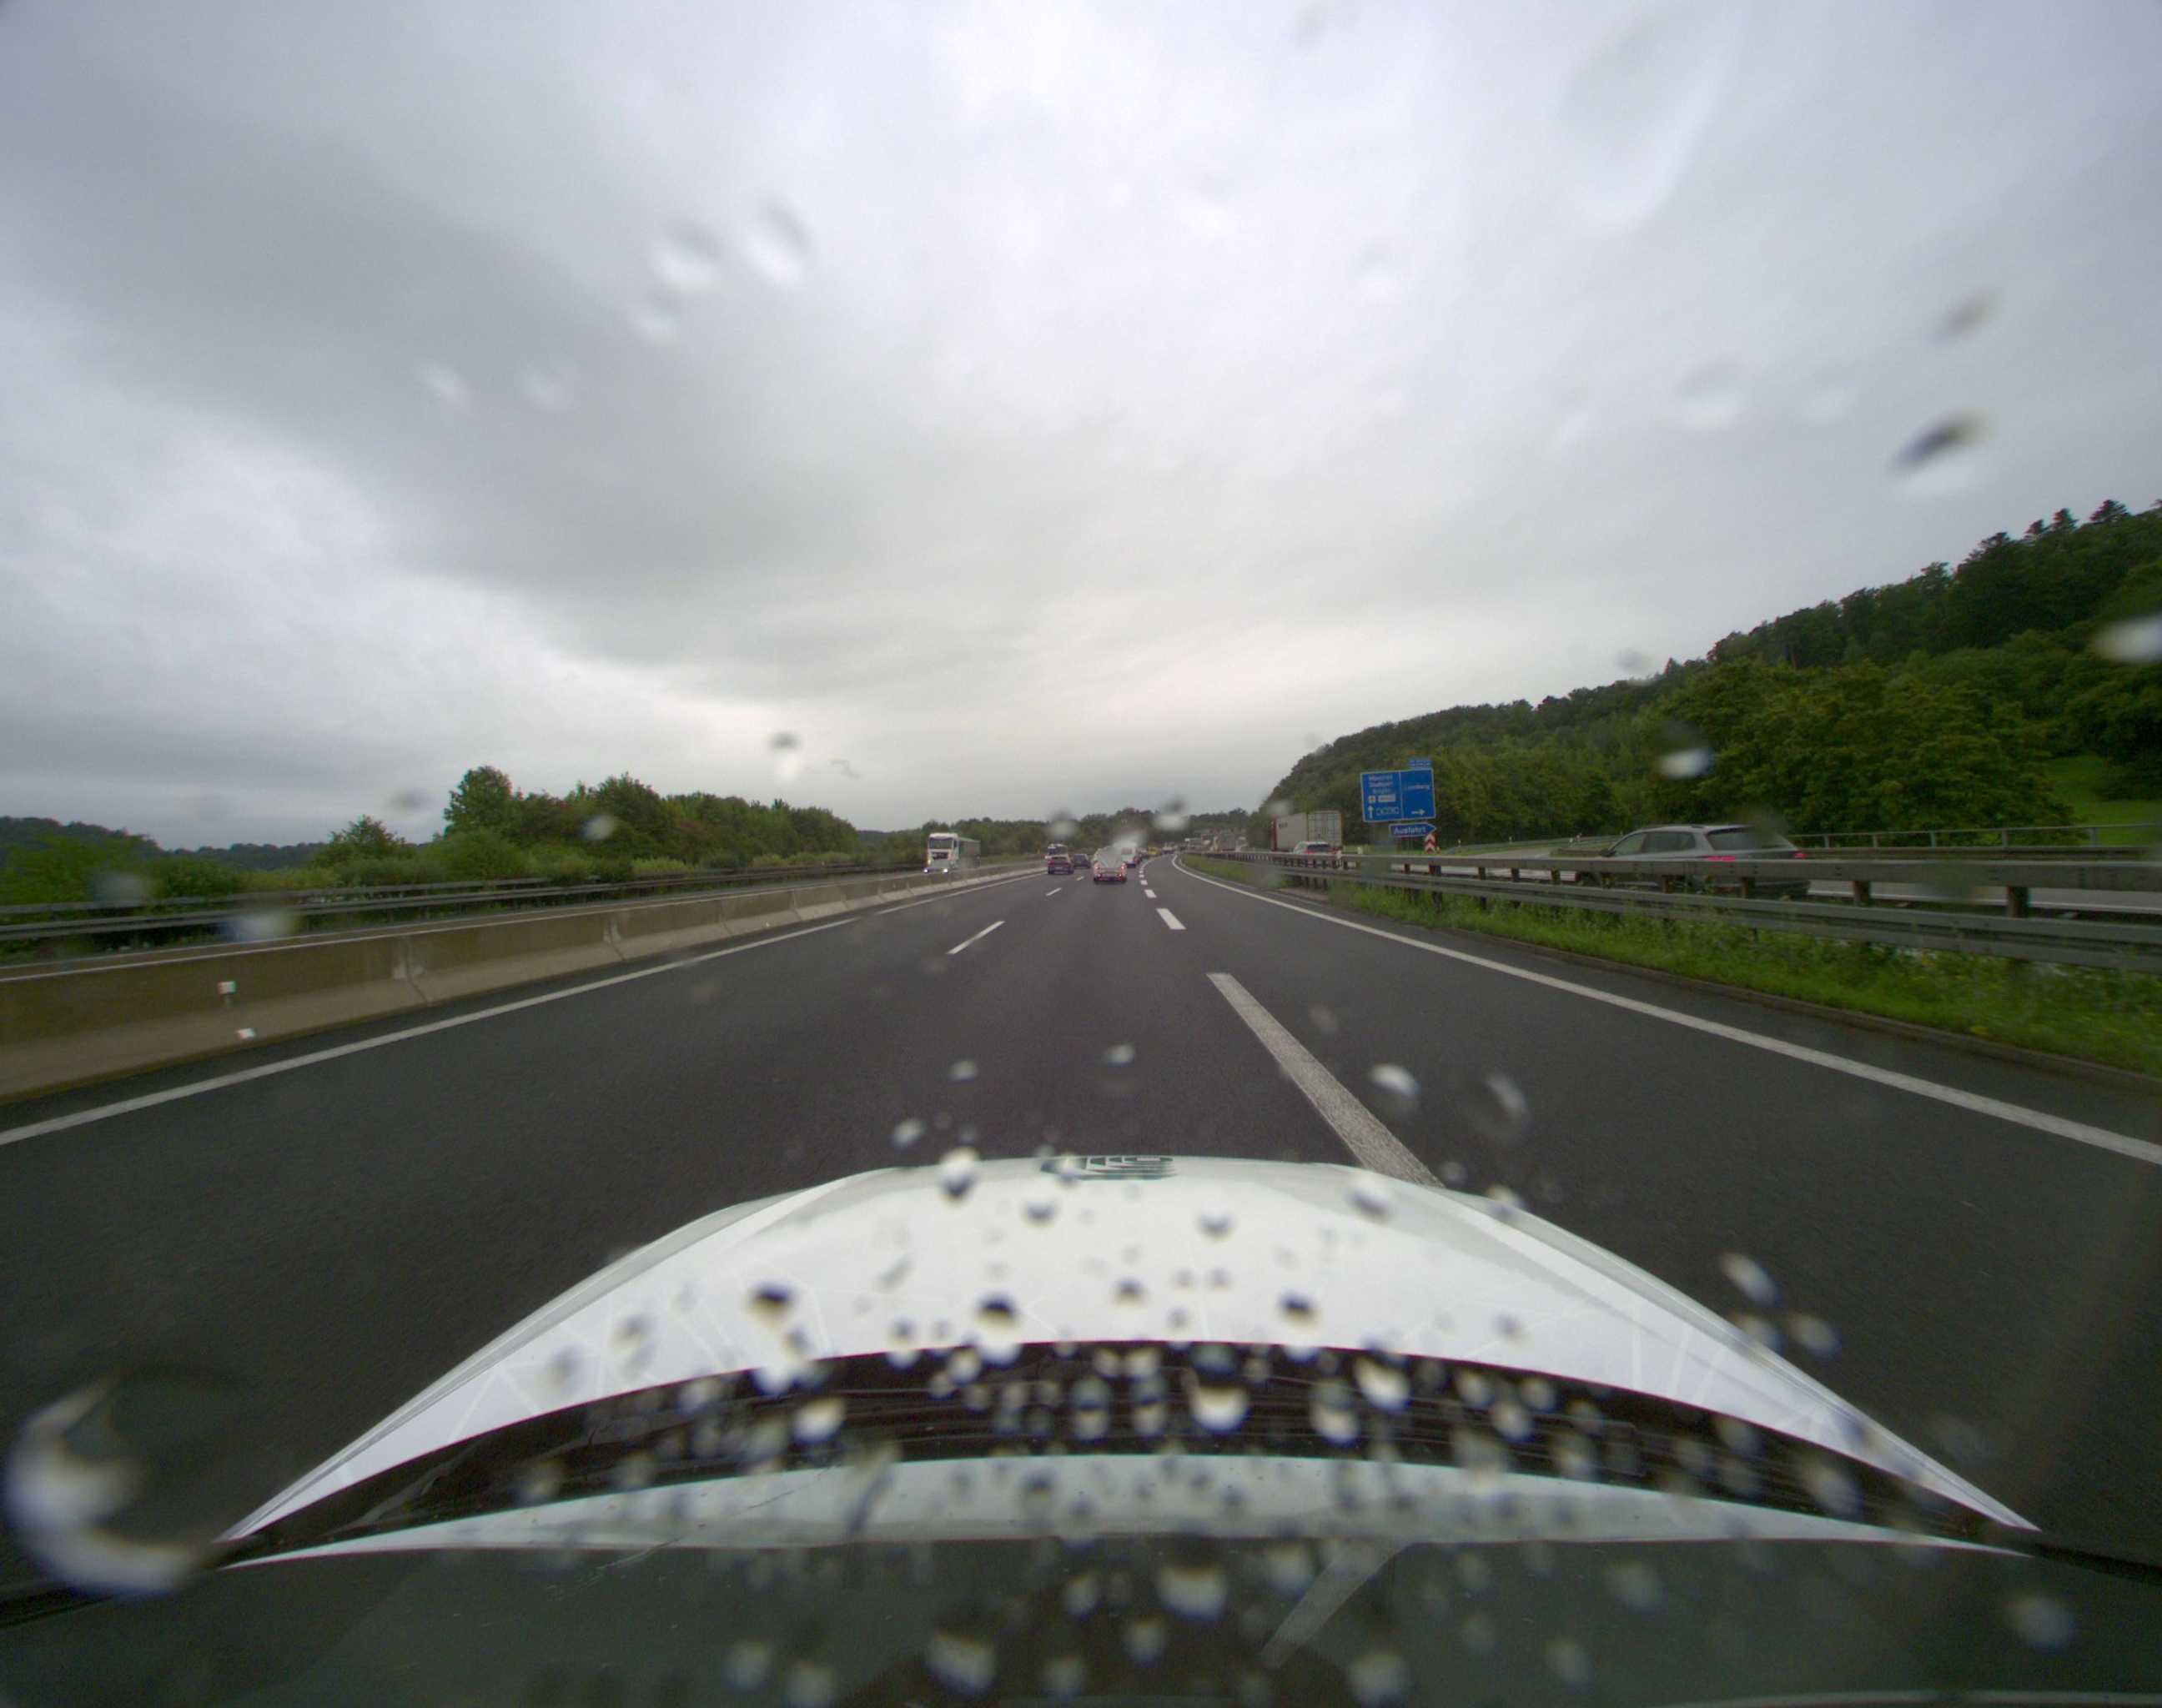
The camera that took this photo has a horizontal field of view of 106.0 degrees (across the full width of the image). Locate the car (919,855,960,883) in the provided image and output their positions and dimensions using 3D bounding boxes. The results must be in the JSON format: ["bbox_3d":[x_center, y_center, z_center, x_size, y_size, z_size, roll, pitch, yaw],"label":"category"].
[{"bbox_3d":[-10.115,1.035,58.670,1.887,1.876,4.545,-2,0,3],"label":"car"}]

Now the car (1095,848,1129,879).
[{"bbox_3d":[1.816,0.526,46.618,1.811,1.616,4.781,-2,0,3],"label":"car"}]

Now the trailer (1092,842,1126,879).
[{"bbox_3d":[1.533,0.356,43.100,1.669,1.812,4.003,-2,0,3],"label":"trailer"}]

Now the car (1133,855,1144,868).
[{"bbox_3d":[8.607,1.104,122.192,1.668,1.812,4.004,-2,0,4],"label":"car"}]

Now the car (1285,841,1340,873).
[{"bbox_3d":[12.607,0.188,44.638,1.763,1.610,4.644,-2,0,1],"label":"car"}]

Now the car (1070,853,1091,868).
[{"bbox_3d":[-0.028,0.667,82.474,1.758,1.456,4.003,-2,0,3],"label":"car"}]

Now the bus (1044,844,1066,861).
[{"bbox_3d":[-4.829,-0.316,154.189,2.685,2.958,11.915,-4,-1,5],"label":"bus"}]

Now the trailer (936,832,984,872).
[{"bbox_3d":[-12.114,-0.188,82.142,2.890,3.749,8.936,-2,0,4],"label":"trailer"}]

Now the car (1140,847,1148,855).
[{"bbox_3d":[16.584,-0.701,213.283,1.984,2.014,4.005,-2,0,4],"label":"car"}]

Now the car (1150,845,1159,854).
[{"bbox_3d":[15.951,-0.920,177.218,1.666,1.812,4.009,-2,0,8],"label":"car"}]

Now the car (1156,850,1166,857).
[{"bbox_3d":[19.341,-0.097,196.504,2.024,1.683,4.012,-2,0,11],"label":"car"}]

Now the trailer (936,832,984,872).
[{"bbox_3d":[-12.114,-0.188,82.142,2.890,3.749,8.936,-2,0,4],"label":"trailer"}]

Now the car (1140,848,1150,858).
[{"bbox_3d":[11.602,-0.152,147.738,1.668,1.812,4.004,-2,0,4],"label":"car"}]

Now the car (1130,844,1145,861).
[{"bbox_3d":[7.212,-0.199,103.796,1.668,2.067,4.005,-2,0,5],"label":"car"}]

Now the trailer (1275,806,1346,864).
[{"bbox_3d":[17.140,-1.294,61.848,2.592,3.894,12.503,-2,0,4],"label":"trailer"}]

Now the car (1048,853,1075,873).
[{"bbox_3d":[-1.470,0.654,62.512,1.669,1.456,4.003,-2,0,3],"label":"car"}]

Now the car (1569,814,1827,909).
[{"bbox_3d":[10.820,0.120,14.718,1.659,1.382,4.130,-4,0,4],"label":"car"}]

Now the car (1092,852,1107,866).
[{"bbox_3d":[2.410,0.619,104.558,1.768,1.640,4.046,-2,0,3],"label":"car"}]

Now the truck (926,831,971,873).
[{"bbox_3d":[-12.422,-0.208,76.913,2.874,3.749,5.950,-2,0,3],"label":"truck"}]

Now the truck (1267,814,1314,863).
[{"bbox_3d":[17.614,-1.269,68.890,2.604,3.884,6.398,-2,0,4],"label":"truck"}]

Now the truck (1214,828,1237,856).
[{"bbox_3d":[25.409,-2.052,143.624,3.199,4.666,13.056,-2,0,7],"label":"truck"}]

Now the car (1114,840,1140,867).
[{"bbox_3d":[4.790,-0.035,84.868,2.496,2.585,5.706,-2,0,4],"label":"car"}]

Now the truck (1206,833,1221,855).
[{"bbox_3d":[30.384,-2.245,186.968,3.196,4.666,13.066,-2,0,9],"label":"truck"}]

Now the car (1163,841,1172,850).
[{"bbox_3d":[24.331,-2.382,228.601,2.503,2.574,5.321,-2,0,6],"label":"car"}]
